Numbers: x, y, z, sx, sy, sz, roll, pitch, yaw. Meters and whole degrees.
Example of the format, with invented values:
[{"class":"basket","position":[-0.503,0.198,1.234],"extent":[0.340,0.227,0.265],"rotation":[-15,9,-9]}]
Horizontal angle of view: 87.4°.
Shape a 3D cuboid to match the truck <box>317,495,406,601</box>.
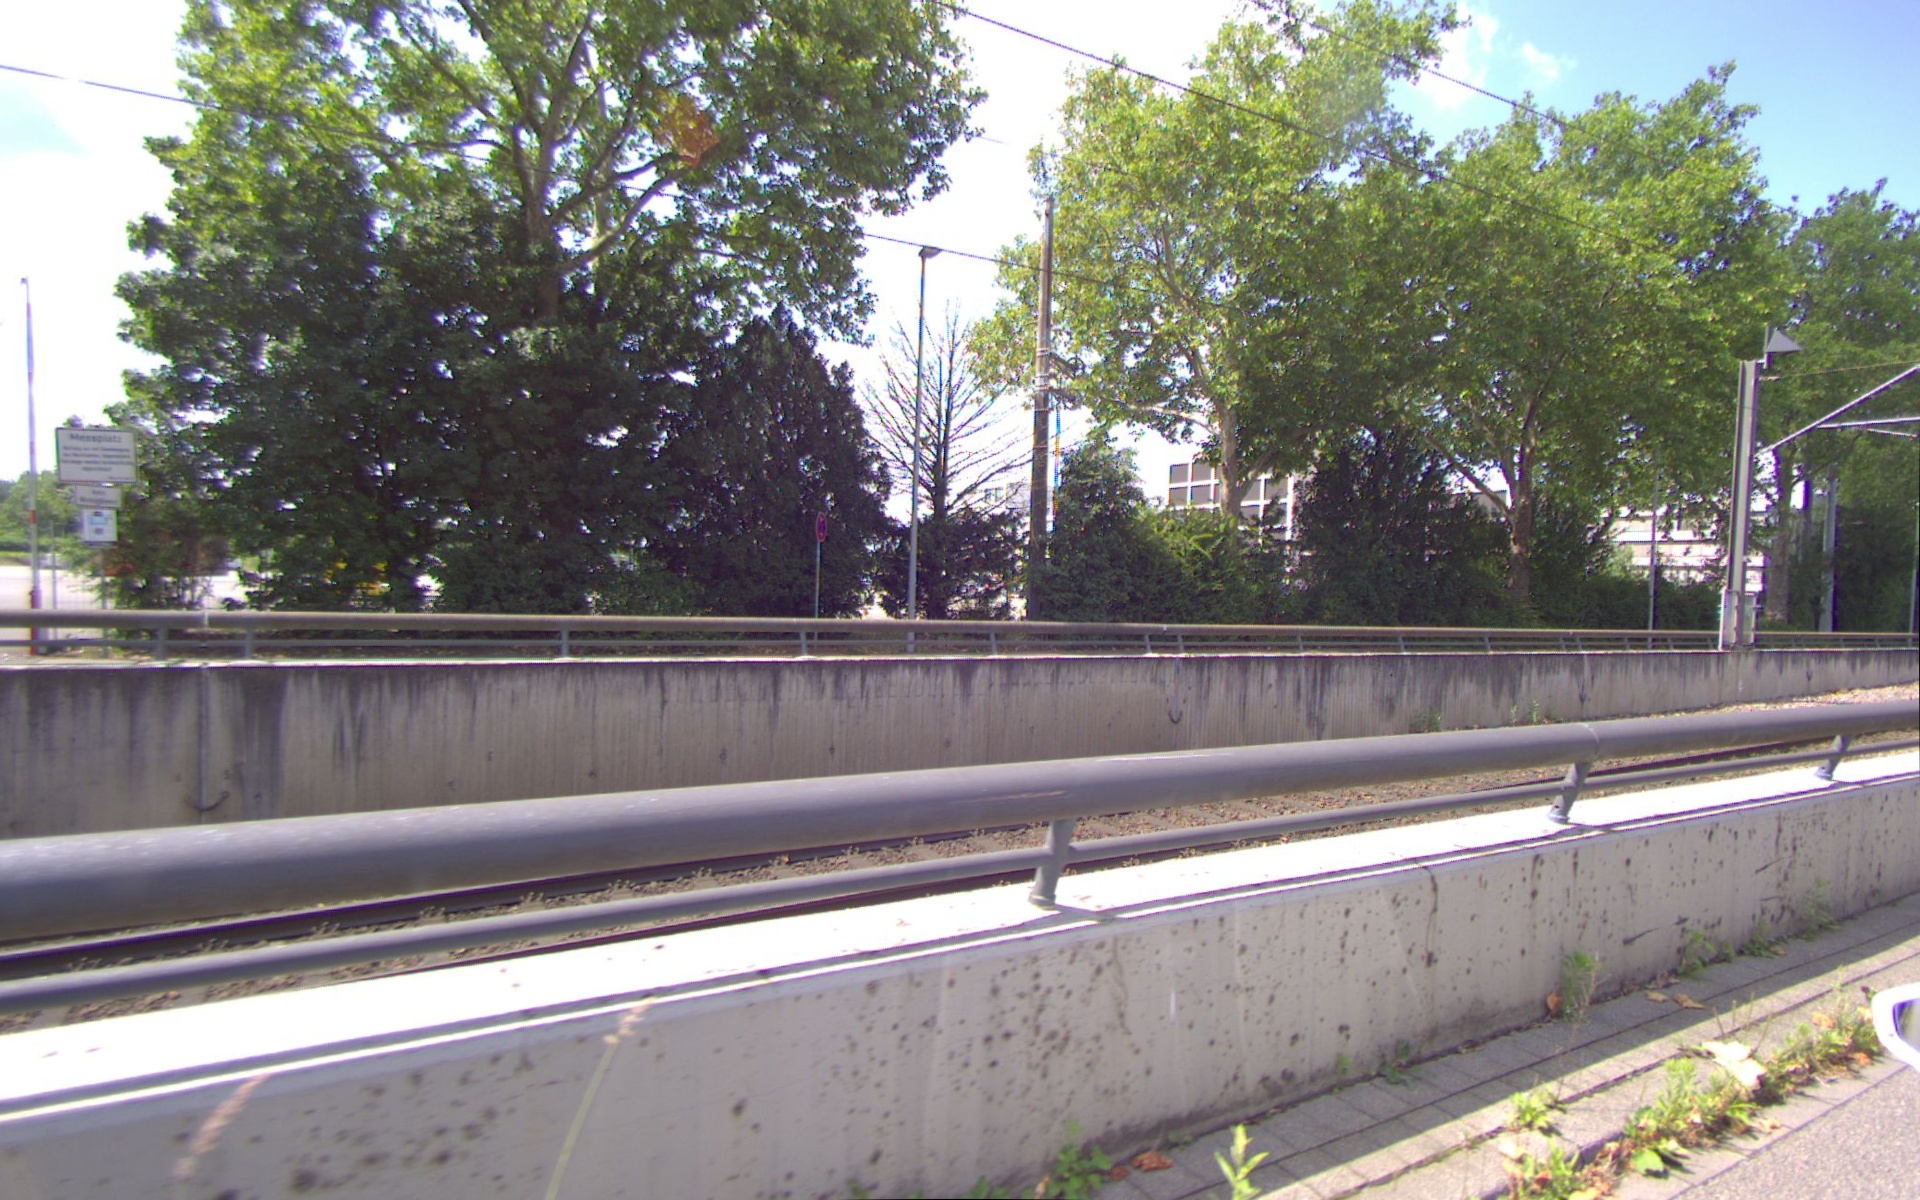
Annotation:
[{"class":"truck","position":[-27.351,-2.106,46.338],"extent":[2.714,4.128,12.737],"rotation":[2,-1,-28]}]
